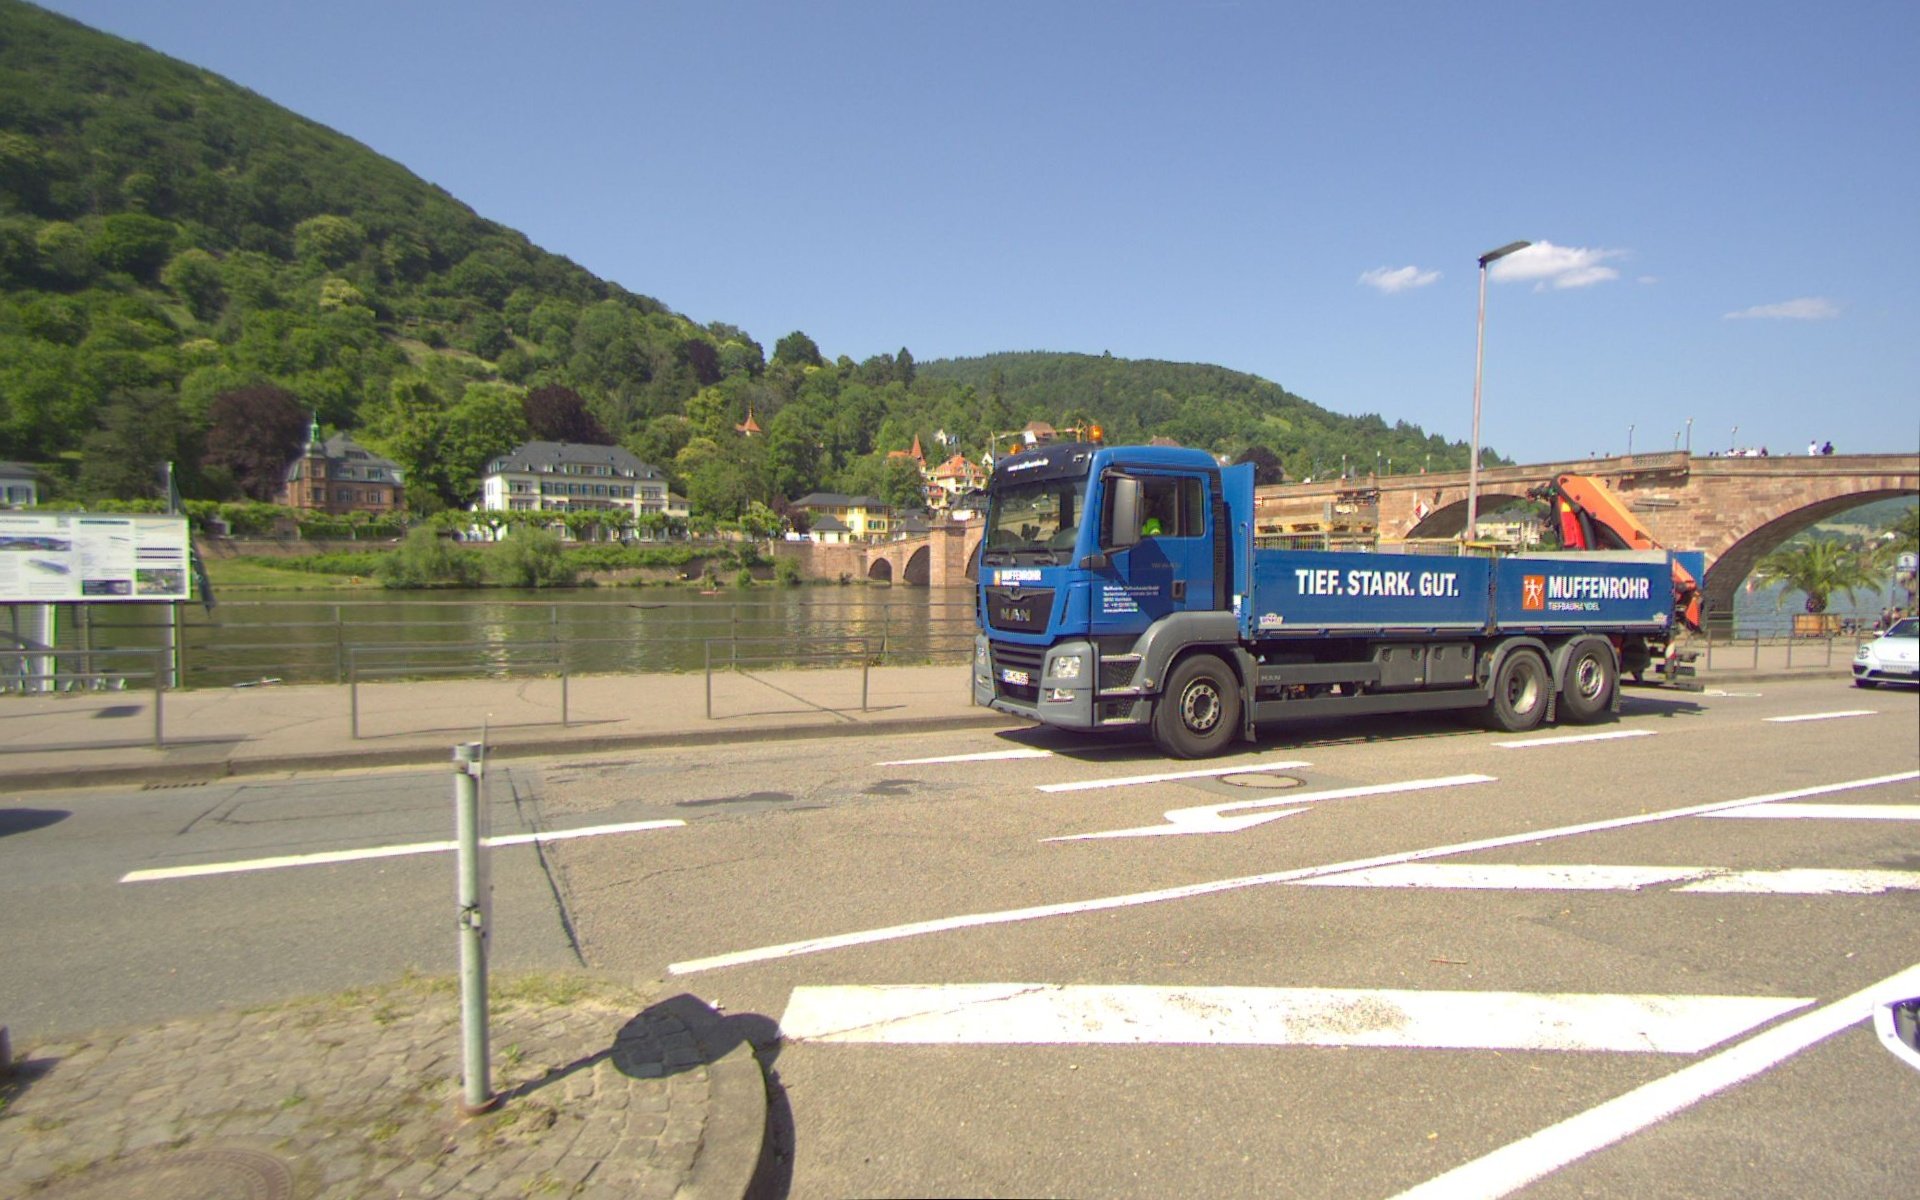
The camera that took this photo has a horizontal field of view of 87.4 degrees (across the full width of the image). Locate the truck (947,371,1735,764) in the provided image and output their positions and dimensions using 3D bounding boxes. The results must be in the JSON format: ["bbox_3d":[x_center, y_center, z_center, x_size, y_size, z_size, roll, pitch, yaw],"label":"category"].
[{"bbox_3d":[5.323,-0.305,12.697,10.963,3.523,2.632,0,1,-27],"label":"truck"}]

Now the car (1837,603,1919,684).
[{"bbox_3d":[19.188,0.825,19.660,3.947,1.463,1.770,1,1,-28],"label":"car"}]

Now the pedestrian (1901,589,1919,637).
[{"bbox_3d":[35.319,0.466,36.869,0.780,1.714,0.846,1,2,18],"label":"pedestrian"}]
